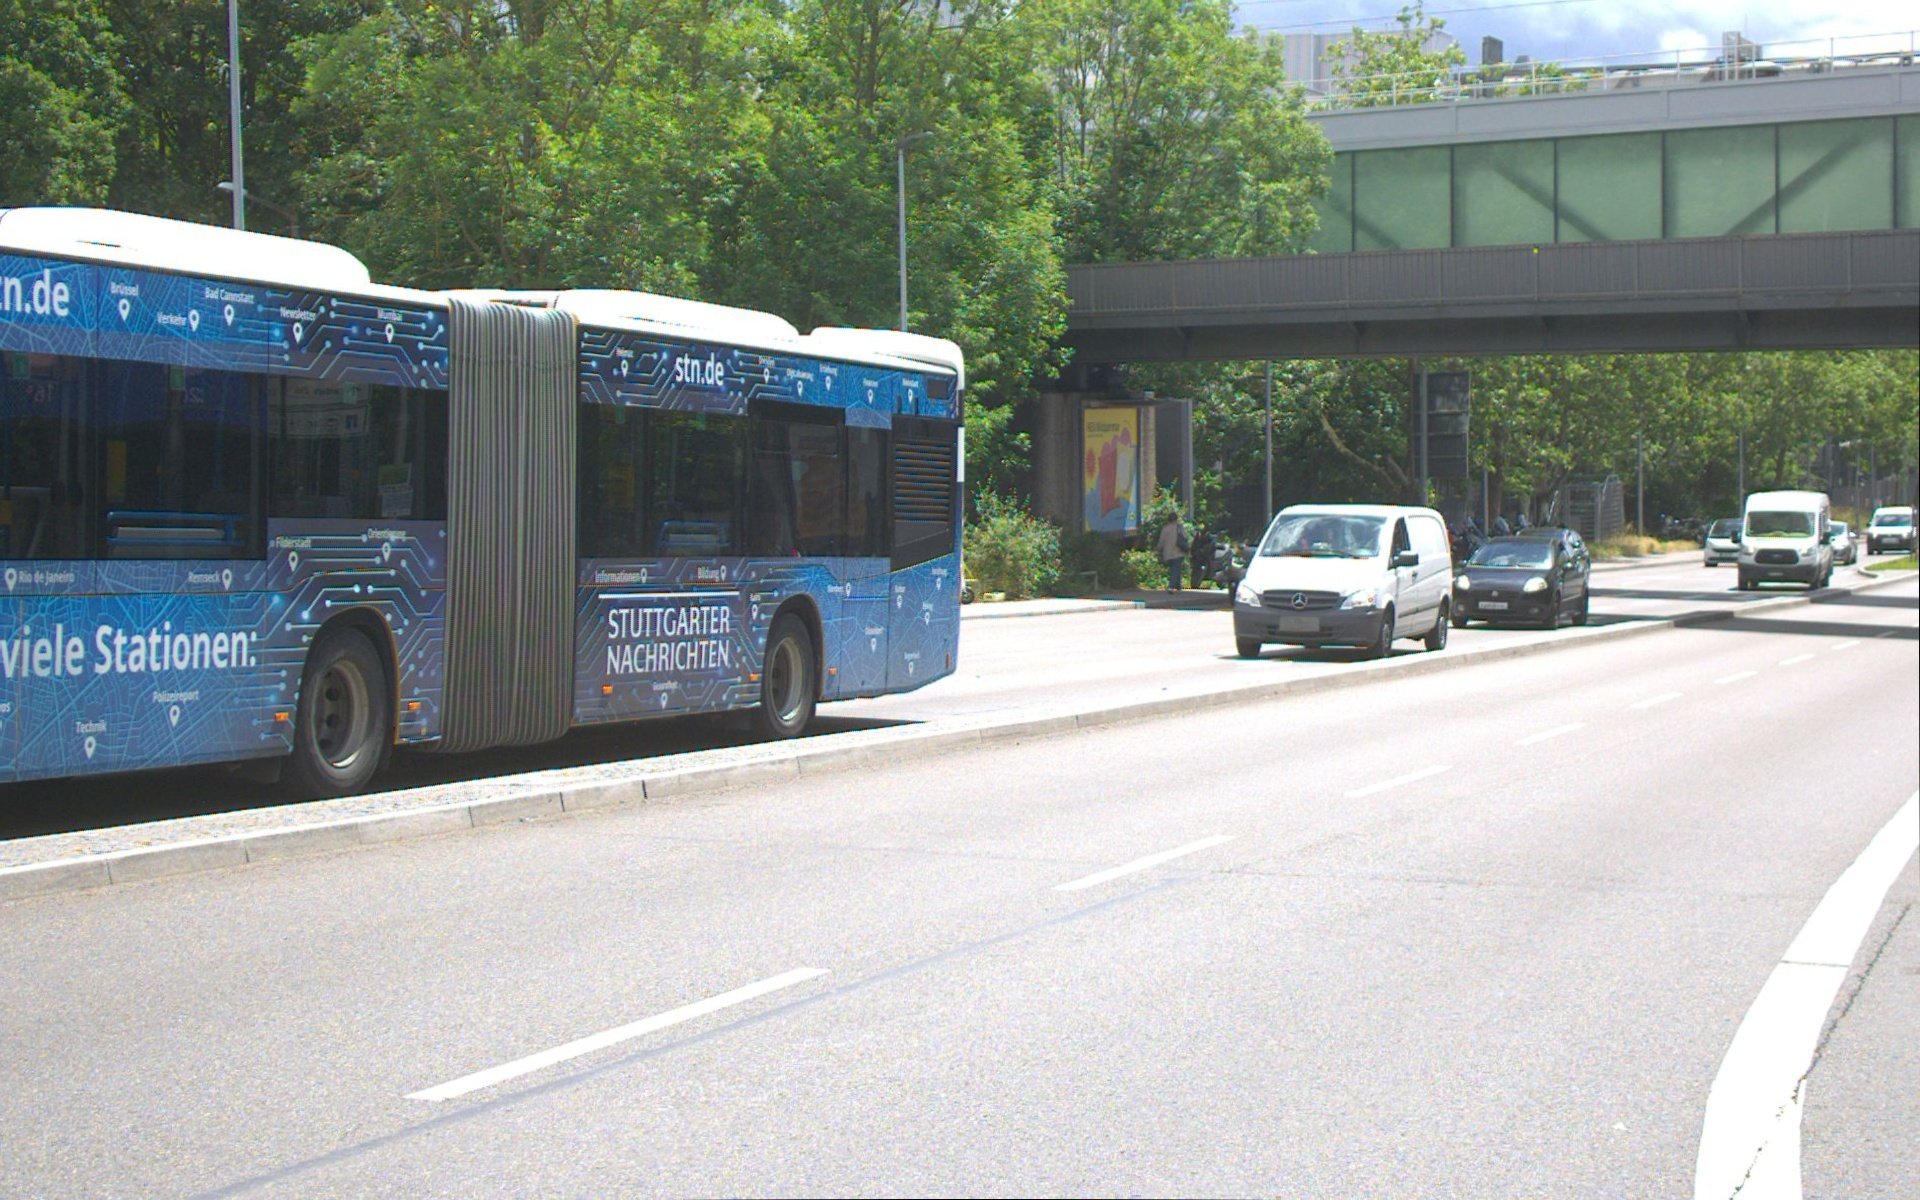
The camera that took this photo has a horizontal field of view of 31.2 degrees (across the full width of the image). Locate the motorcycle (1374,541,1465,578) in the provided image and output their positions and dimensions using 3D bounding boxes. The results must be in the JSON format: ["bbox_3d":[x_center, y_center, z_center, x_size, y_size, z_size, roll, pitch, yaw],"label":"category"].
[{"bbox_3d":[13.519,-1.200,101.158,2.555,1.047,0.673,2,1,27],"label":"motorcycle"}]

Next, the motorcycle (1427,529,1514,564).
[{"bbox_3d":[15.692,-1.648,105.644,2.555,1.047,0.673,2,1,27],"label":"motorcycle"}]

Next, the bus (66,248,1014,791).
[{"bbox_3d":[-2.516,-0.612,24.634,2.819,3.153,8.898,2,2,21],"label":"bus"}]

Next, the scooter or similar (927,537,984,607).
[{"bbox_3d":[-0.072,-0.497,60.817,0.612,1.207,1.260,1,1,20],"label":"scooter or similar"}]

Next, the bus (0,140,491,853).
[{"bbox_3d":[-5.916,-0.505,15.813,2.819,3.274,10.109,2,1,21],"label":"bus"}]

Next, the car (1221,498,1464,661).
[{"bbox_3d":[4.894,-0.305,43.423,1.879,1.918,4.745,2,2,21],"label":"car"}]

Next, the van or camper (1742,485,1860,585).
[{"bbox_3d":[21.223,-1.634,86.596,2.010,2.393,6.391,1,1,21],"label":"van or camper"}]

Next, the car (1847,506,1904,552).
[{"bbox_3d":[35.040,-2.707,131.563,1.702,1.692,3.920,2,1,20],"label":"car"}]

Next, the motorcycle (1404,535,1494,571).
[{"bbox_3d":[14.686,-1.413,103.252,2.555,1.047,0.673,2,1,27],"label":"motorcycle"}]

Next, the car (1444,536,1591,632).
[{"bbox_3d":[9.081,-0.288,55.846,1.639,1.466,3.772,2,2,20],"label":"car"}]

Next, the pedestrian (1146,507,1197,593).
[{"bbox_3d":[4.230,-1.006,68.658,0.725,1.617,0.720,6,6,19],"label":"pedestrian"}]

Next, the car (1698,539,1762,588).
[{"bbox_3d":[25.424,-1.217,113.455,1.702,1.545,3.921,2,1,17],"label":"car"}]
